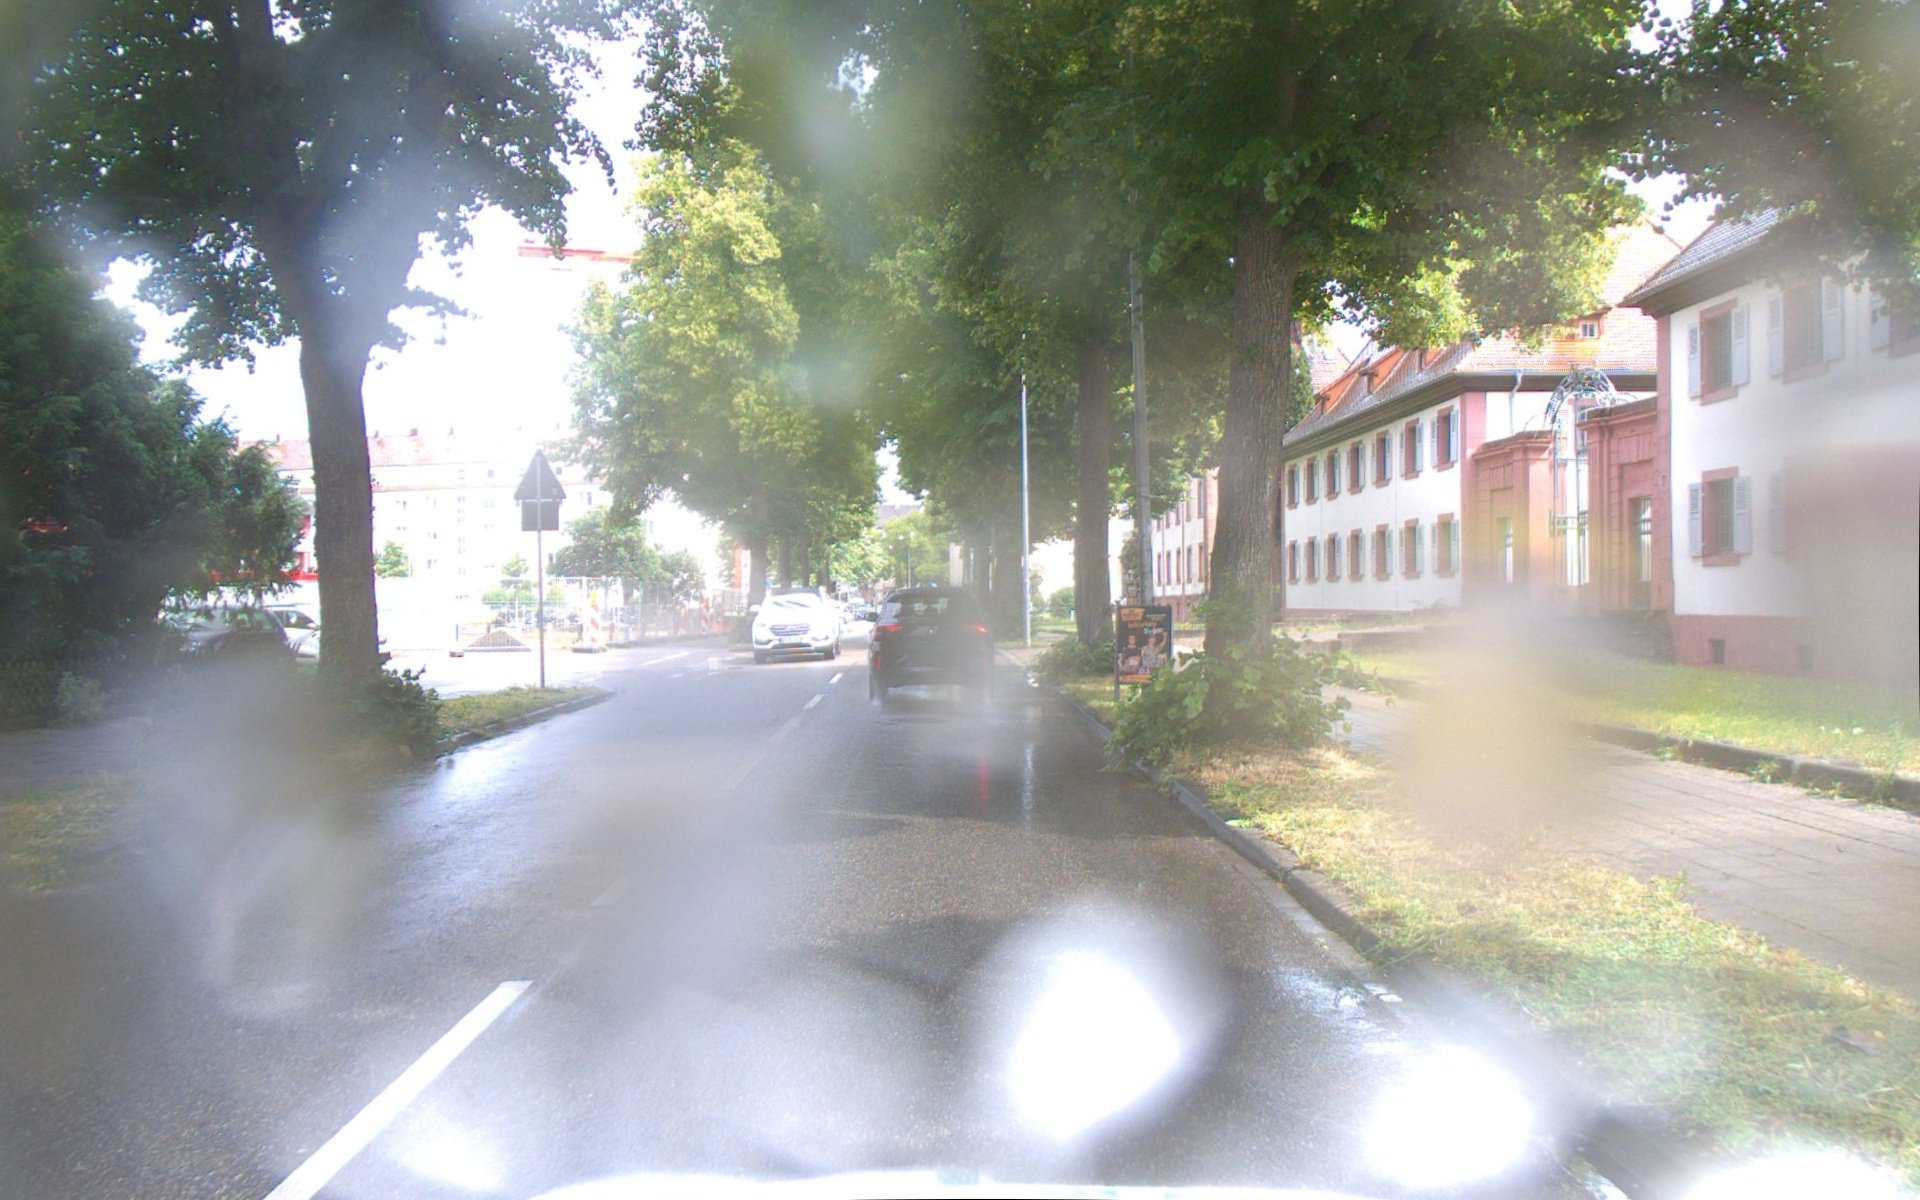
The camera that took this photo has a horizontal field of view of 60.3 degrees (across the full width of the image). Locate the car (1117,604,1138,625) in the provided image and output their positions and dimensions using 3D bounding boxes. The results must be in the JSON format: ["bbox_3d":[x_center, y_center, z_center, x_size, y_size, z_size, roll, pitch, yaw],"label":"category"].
[{"bbox_3d":[15.028,1.293,148.745,1.706,1.713,3.872,-4,0,5],"label":"car"}]

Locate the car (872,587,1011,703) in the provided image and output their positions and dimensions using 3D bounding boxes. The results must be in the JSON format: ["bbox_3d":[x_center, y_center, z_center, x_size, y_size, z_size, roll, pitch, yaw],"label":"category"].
[{"bbox_3d":[-0.337,0.605,24.042,1.857,1.549,3.998,0,0,-3],"label":"car"}]

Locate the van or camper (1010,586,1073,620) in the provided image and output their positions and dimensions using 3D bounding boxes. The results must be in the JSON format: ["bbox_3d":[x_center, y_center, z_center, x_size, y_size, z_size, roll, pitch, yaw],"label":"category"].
[{"bbox_3d":[6.644,0.287,135.263,4.932,2.641,2.167,-1,-1,-3],"label":"van or camper"}]

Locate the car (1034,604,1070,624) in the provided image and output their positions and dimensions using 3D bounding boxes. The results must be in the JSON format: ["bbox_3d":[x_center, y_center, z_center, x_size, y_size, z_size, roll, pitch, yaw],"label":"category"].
[{"bbox_3d":[9.151,1.367,164.433,3.335,1.812,1.761,-4,-1,8],"label":"car"}]

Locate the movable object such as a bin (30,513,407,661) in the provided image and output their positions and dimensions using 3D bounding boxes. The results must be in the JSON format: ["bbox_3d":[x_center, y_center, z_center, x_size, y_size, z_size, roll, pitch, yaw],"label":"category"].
[{"bbox_3d":[-21.745,-0.387,48.946,9.609,4.187,3.366,0,0,0],"label":"movable object such as a bin"}]

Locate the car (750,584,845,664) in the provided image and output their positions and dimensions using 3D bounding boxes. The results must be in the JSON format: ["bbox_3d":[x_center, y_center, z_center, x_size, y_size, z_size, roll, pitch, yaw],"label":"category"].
[{"bbox_3d":[-3.801,0.530,39.286,1.848,1.743,4.229,-1,0,-1],"label":"car"}]

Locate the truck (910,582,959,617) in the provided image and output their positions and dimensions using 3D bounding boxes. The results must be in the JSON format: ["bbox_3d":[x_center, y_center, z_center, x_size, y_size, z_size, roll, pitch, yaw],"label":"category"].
[{"bbox_3d":[-2.068,-0.055,131.617,2.754,2.703,8.222,0,1,-9],"label":"truck"}]

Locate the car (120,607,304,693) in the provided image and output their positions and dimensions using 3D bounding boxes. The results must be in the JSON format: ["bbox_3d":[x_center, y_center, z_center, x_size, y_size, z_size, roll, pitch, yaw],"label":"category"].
[{"bbox_3d":[-13.559,0.913,30.225,1.591,1.445,3.869,1,-2,0],"label":"car"}]

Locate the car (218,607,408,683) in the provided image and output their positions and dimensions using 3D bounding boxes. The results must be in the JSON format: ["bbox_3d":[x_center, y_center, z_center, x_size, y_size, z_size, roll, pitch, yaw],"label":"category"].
[{"bbox_3d":[-14.445,0.986,36.989,3.528,1.560,1.740,-1,0,10],"label":"car"}]

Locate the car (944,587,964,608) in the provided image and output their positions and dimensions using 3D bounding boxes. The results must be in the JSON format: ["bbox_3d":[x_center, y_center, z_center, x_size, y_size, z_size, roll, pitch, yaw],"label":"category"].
[{"bbox_3d":[-0.636,-0.264,180.860,1.952,2.049,4.000,-2,-3,2],"label":"car"}]
